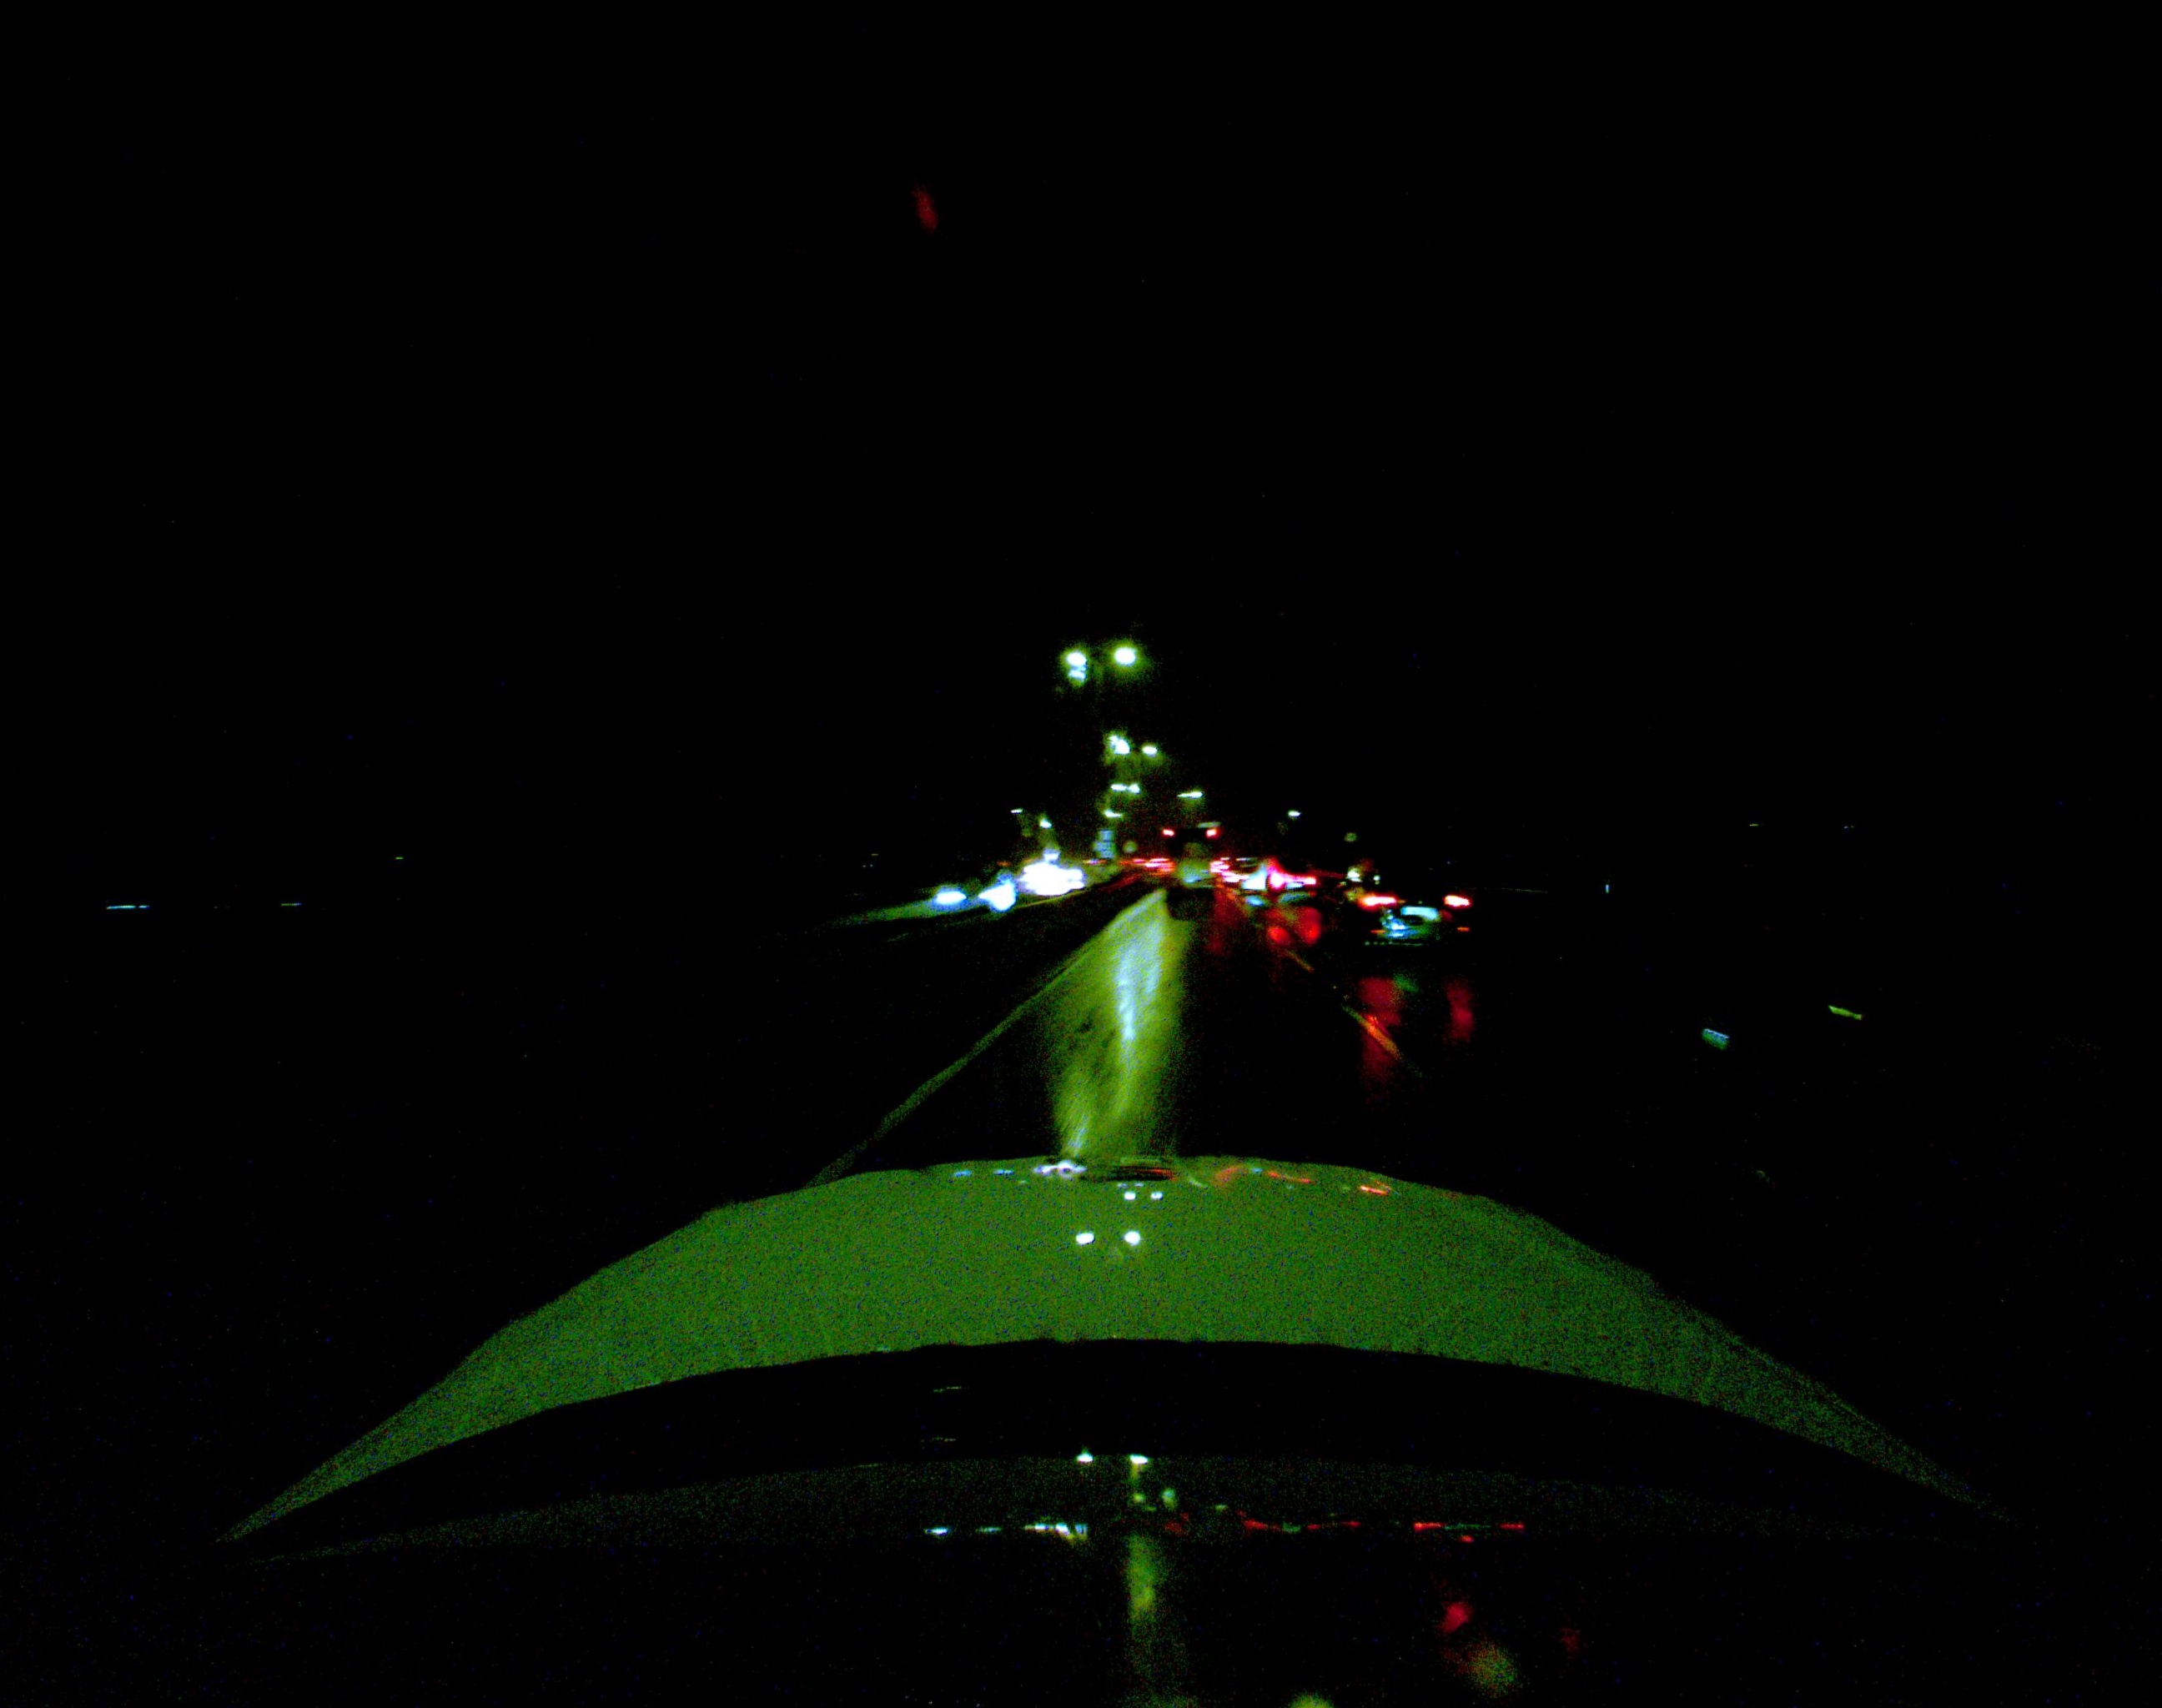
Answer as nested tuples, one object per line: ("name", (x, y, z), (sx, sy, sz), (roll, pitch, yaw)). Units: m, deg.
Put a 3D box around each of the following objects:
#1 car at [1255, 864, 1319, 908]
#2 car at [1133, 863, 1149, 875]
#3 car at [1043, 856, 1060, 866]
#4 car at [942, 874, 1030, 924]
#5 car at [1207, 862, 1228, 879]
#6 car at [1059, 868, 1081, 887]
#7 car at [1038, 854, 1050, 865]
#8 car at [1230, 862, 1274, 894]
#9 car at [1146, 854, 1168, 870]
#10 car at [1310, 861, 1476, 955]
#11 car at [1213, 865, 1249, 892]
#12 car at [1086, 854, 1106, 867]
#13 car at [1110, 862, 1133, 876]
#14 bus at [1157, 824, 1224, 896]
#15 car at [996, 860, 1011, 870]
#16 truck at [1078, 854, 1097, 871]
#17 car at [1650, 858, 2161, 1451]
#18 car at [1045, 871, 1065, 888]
("car", (7.678, 1.157, 30.661), (1.731, 1.565, 3.781), (0, -1, 5))
("car", (8.146, 2.029, 110.817), (1.747, 1.631, 3.618), (0, -1, -4))
("car", (-5.430, 1.305, 148.444), (1.999, 1.686, 3.977), (2, 0, -18))
("car", (-3.143, 1.476, 27.951), (1.846, 1.476, 4.788), (-2, -1, 7))
("car", (12.601, 1.514, 75.348), (1.770, 1.543, 3.881), (0, -1, 6))
("car", (-0.971, 2.163, 75.124), (1.613, 1.651, 4.004), (-2, -1, 4))
("car", (-7.271, 1.109, 160.301), (2.118, 2.014, 3.992), (0, -1, -5))
("car", (9.112, 1.234, 43.633), (1.811, 1.590, 3.781), (-2, -1, 5))
("car", (9.370, 0.997, 100.800), (1.992, 2.014, 3.989), (0, -1, -7))
("car", (5.514, 0.864, 15.028), (1.723, 1.449, 4.733), (0, -1, 6))
("car", (9.482, 1.513, 51.739), (1.811, 1.590, 3.781), (-2, -1, 5))
("car", (2.450, 1.095, 133.935), (1.999, 2.014, 3.974), (1, -1, -19))
("car", (5.922, 2.171, 120.144), (2.215, 2.014, 3.979), (-1, -1, -15))
("bus", (5.144, 0.308, 39.120), (2.801, 3.024, 8.701), (-1, -1, 6))
("car", (-15.813, 2.294, 166.189), (2.002, 2.014, 3.970), (1, -1, -22))
("truck", (1.002, 1.240, 126.812), (1.857, 2.392, 4.760), (-3, 2, -12))
("car", (3.634, 0.759, 1.973), (1.811, 1.484, 4.578), (-1, -1, 8))
("car", (-2.960, 2.920, 94.083), (1.986, 2.014, 4.001), (0, -1, 2))
